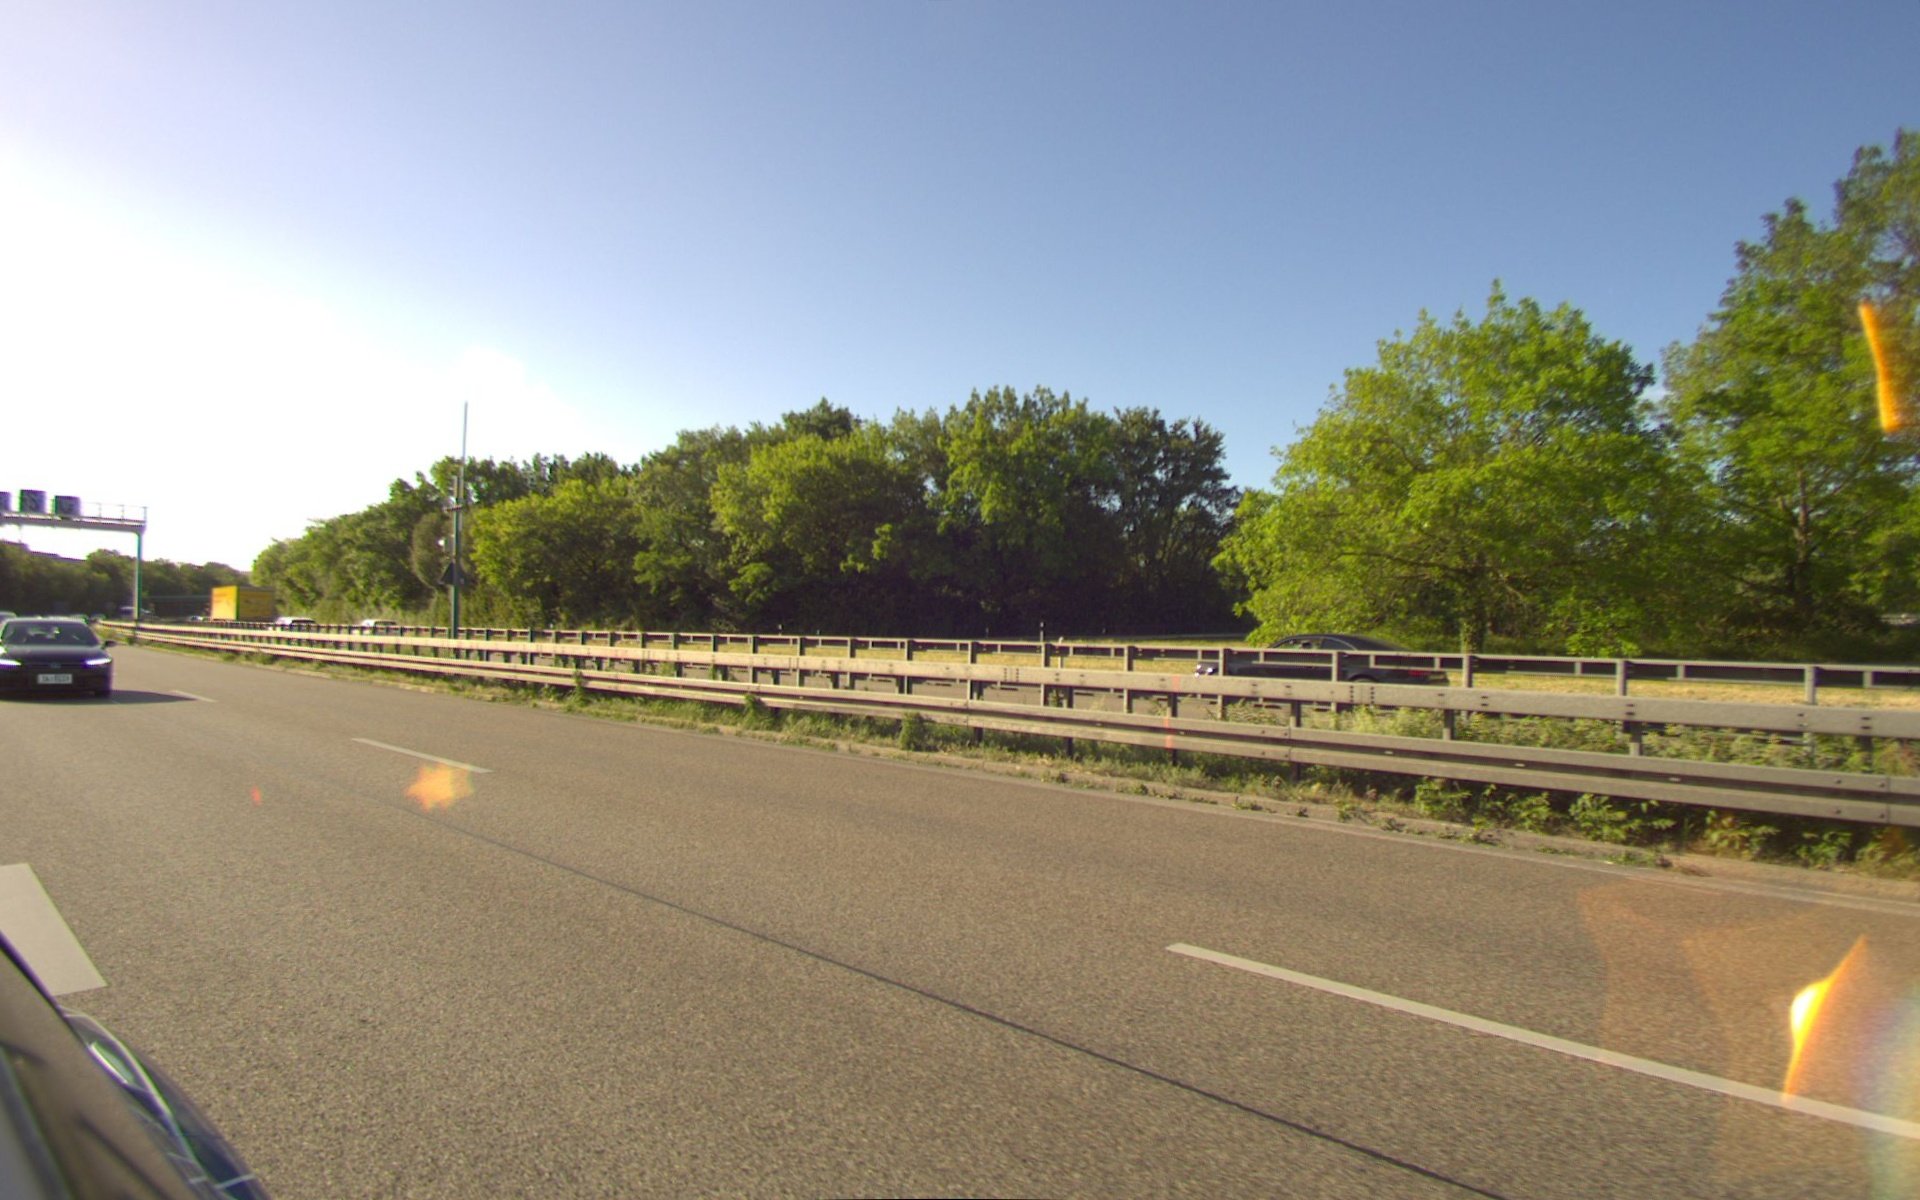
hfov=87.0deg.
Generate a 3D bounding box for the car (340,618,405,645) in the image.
[{"bbox_3d":[-32.296,1.703,55.567,1.970,1.425,4.834,1,-1,-44],"label":"car"}]

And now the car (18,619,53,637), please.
[{"bbox_3d":[-77.824,2.339,85.194,1.971,1.425,4.833,1,-1,-45],"label":"car"}]

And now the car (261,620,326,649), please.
[{"bbox_3d":[-34.452,1.732,52.262,1.970,1.425,4.834,1,-1,-44],"label":"car"}]

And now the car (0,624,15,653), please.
[{"bbox_3d":[-50.273,1.978,52.243,4.832,1.425,1.971,-1,-1,44],"label":"car"}]

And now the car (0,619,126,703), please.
[{"bbox_3d":[-17.715,1.087,19.352,4.829,1.425,1.972,-1,-3,42],"label":"car"}]

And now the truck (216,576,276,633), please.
[{"bbox_3d":[-58.451,0.390,82.768,3.127,4.453,8.029,-1,0,-42],"label":"truck"}]

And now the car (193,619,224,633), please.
[{"bbox_3d":[-78.253,2.648,105.354,1.971,1.425,4.833,1,-1,-45],"label":"car"}]

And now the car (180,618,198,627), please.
[{"bbox_3d":[-122.944,3.547,161.302,1.969,1.425,4.838,1,-1,-41],"label":"car"}]

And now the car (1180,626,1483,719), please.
[{"bbox_3d":[6.654,1.218,18.473,4.829,1.425,1.972,-1,-1,42],"label":"car"}]
